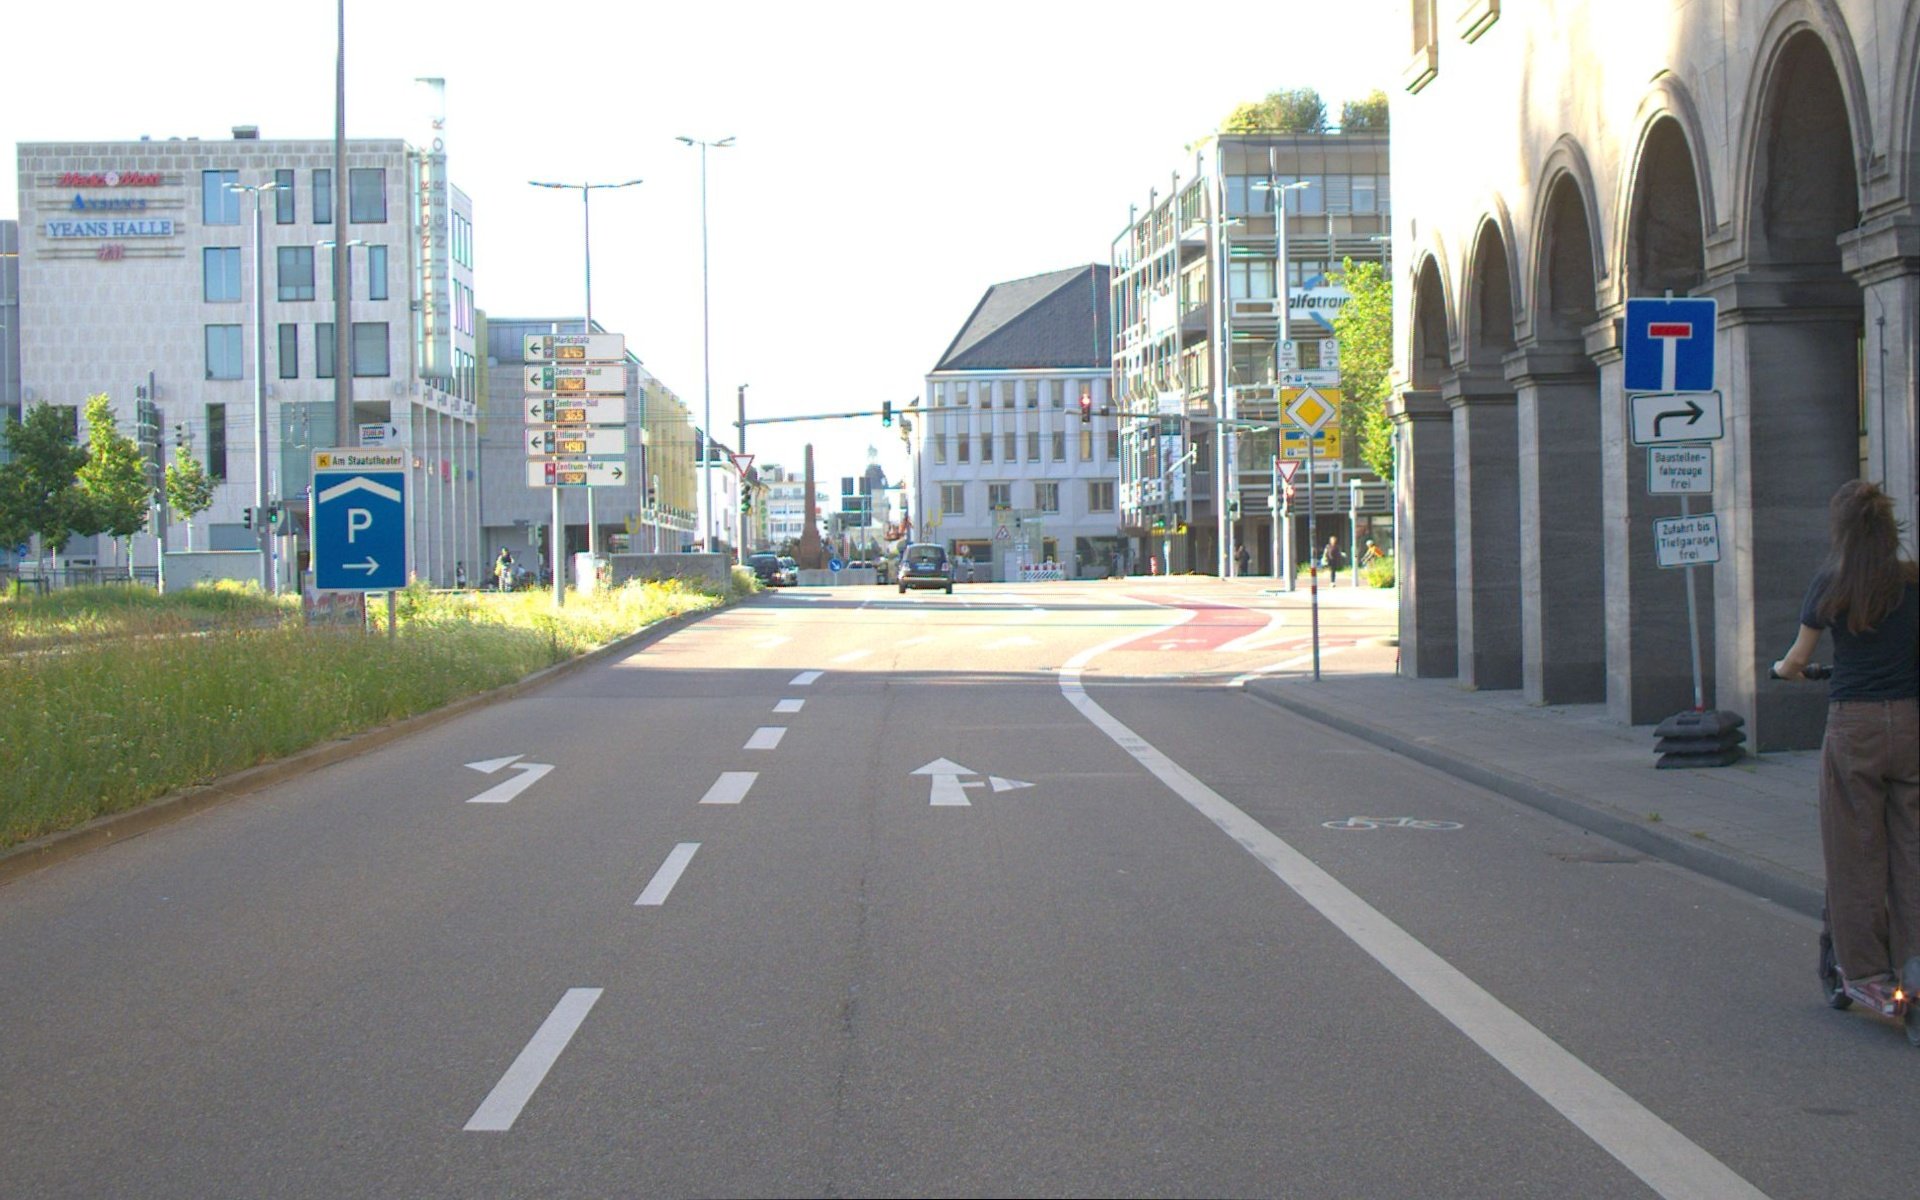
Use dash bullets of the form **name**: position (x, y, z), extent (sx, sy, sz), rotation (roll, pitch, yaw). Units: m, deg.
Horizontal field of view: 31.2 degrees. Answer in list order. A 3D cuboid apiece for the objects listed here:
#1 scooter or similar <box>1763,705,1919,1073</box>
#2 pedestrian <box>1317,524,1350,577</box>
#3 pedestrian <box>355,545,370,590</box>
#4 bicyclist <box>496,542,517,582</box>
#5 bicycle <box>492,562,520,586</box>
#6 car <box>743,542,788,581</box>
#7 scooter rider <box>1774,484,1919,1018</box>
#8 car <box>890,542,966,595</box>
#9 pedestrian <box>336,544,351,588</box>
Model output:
- **scooter or similar**: position (2.958, 0.872, 10.733), extent (0.555, 1.028, 1.118), rotation (-1, 1, -4)
- **pedestrian**: position (12.400, -1.645, 114.127), extent (0.822, 1.742, 1.040), rotation (-2, 0, 21)
- **pedestrian**: position (-27.109, -1.475, 156.023), extent (0.622, 2.007, 0.516), rotation (-1, 1, -9)
- **bicyclist**: position (-16.644, -1.397, 126.085), extent (0.607, 1.484, 0.681), rotation (-1, 1, 5)
- **bicycle**: position (-16.644, -0.959, 126.086), extent (0.612, 0.858, 1.950), rotation (-1, 1, 5)
- **car**: position (-9.507, -1.900, 168.511), extent (1.993, 1.736, 4.647), rotation (-1, 2, -1)
- **scooter rider**: position (2.948, 0.454, 10.830), extent (0.561, 1.626, 0.650), rotation (-1, 1, -3)
- **car**: position (-0.984, -0.950, 103.723), extent (1.775, 1.558, 3.790), rotation (-1, 1, -8)
- **pedestrian**: position (-28.121, -1.539, 156.923), extent (0.622, 2.007, 0.516), rotation (-1, 1, -9)
